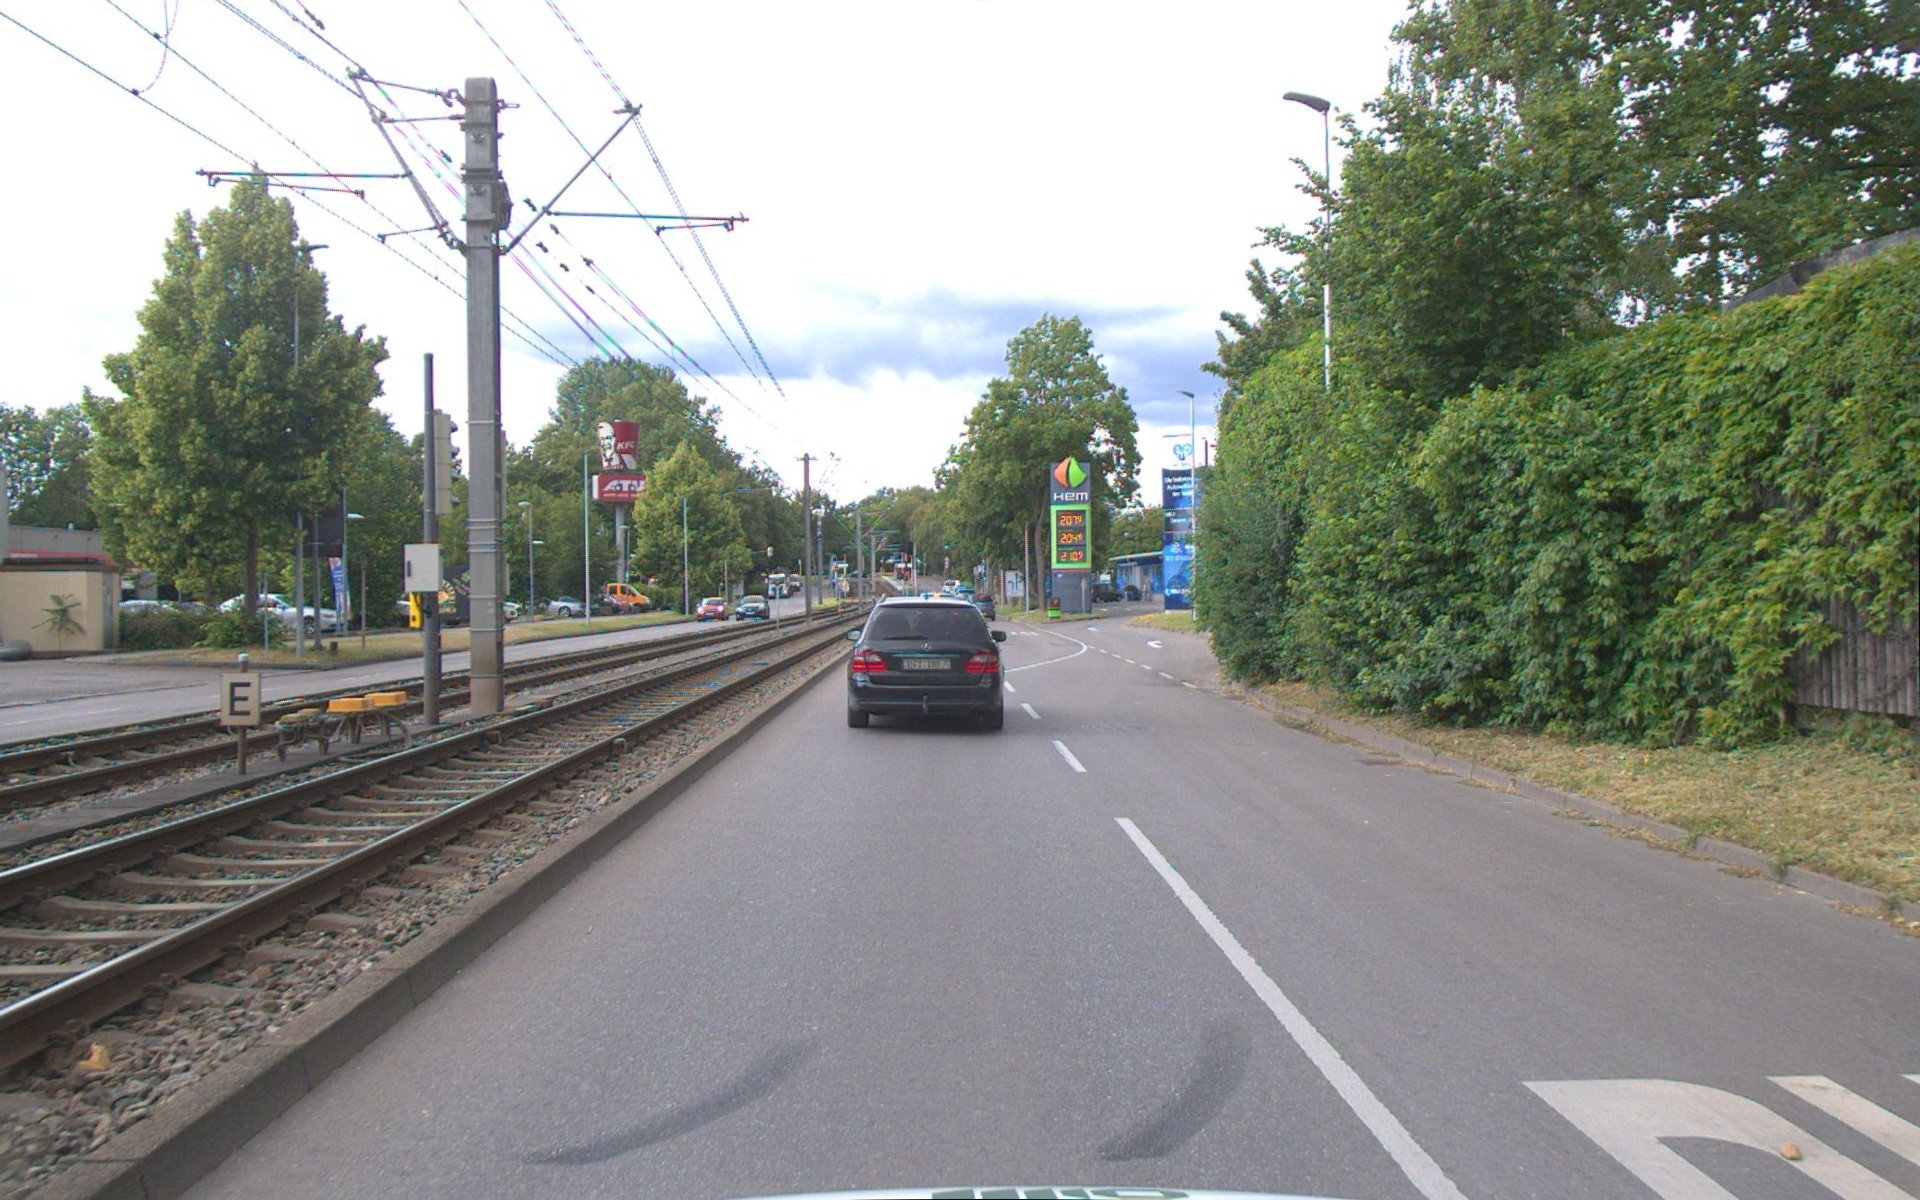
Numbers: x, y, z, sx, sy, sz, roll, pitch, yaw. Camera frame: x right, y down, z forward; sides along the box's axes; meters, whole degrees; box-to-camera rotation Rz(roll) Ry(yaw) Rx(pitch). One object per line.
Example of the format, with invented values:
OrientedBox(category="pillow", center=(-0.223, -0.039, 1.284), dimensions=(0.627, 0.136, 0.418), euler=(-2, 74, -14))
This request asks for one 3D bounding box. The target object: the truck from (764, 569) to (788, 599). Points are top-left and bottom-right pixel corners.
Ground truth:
OrientedBox(category="truck", center=(-23.968, -2.027, 215.963), dimensions=(2.653, 3.727, 11.103), euler=(-1, 0, -4))

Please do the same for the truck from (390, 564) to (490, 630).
OrientedBox(category="truck", center=(-23.962, -0.142, 76.354), dimensions=(3.908, 2.871, 2.374), euler=(-1, 0, -4))

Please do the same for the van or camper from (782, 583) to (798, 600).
OrientedBox(category="van or camper", center=(-25.601, -1.300, 249.257), dimensions=(1.954, 2.395, 5.762), euler=(-1, 0, -3))

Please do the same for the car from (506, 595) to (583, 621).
OrientedBox(category="car", center=(-25.025, 0.464, 99.684), dimensions=(4.221, 1.497, 1.679), euler=(-1, 0, -4))

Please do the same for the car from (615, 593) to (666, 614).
OrientedBox(category="car", center=(-25.928, 0.272, 134.418), dimensions=(3.910, 1.627, 1.794), euler=(-1, 0, -6))

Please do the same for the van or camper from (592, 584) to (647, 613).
OrientedBox(category="van or camper", center=(-25.874, -0.138, 125.692), dimensions=(3.910, 2.172, 1.876), euler=(0, 0, -6))

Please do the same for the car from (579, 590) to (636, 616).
OrientedBox(category="car", center=(-25.757, 0.218, 120.977), dimensions=(3.910, 1.829, 1.876), euler=(0, 0, -6))

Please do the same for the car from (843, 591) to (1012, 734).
OrientedBox(category="car", center=(-0.379, 0.649, 19.390), dimensions=(1.772, 1.500, 3.880), euler=(0, 0, -1))

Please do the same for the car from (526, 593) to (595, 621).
OrientedBox(category="car", center=(-24.977, 0.425, 103.459), dimensions=(3.910, 1.663, 1.876), euler=(-1, 0, -6))

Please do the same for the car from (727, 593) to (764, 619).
OrientedBox(category="car", center=(-12.816, 0.350, 98.879), dimensions=(1.724, 1.425, 4.442), euler=(-3, 0, -2))

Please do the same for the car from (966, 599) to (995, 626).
OrientedBox(category="car", center=(1.144, 0.713, 93.151), dimensions=(1.539, 1.439, 3.353), euler=(1, 0, -1))

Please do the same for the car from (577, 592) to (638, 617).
OrientedBox(category="car", center=(-24.679, 0.312, 115.955), dimensions=(3.910, 1.627, 1.876), euler=(-1, 0, -6))

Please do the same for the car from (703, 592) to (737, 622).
OrientedBox(category="car", center=(-15.053, 0.417, 103.944), dimensions=(1.756, 1.803, 3.998), euler=(-1, 0, -3))

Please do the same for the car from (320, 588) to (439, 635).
OrientedBox(category="car", center=(-23.651, 0.453, 67.499), dimensions=(4.136, 1.757, 1.994), euler=(-1, 0, -3))

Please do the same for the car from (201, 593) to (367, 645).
OrientedBox(category="car", center=(-23.620, 0.633, 57.984), dimensions=(4.684, 1.657, 2.652), euler=(-1, 1, -1))

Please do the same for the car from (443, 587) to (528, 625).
OrientedBox(category="car", center=(-24.654, 0.295, 85.964), dimensions=(3.910, 1.829, 1.876), euler=(-1, 0, -6))

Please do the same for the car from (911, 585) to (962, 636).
OrientedBox(category="car", center=(-0.863, 0.373, 60.281), dimensions=(1.744, 1.781, 3.717), euler=(1, 0, -1))

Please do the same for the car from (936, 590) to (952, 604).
OrientedBox(category="car", center=(-2.127, -0.398, 217.867), dimensions=(1.953, 1.870, 3.999), euler=(1, 0, -1))
